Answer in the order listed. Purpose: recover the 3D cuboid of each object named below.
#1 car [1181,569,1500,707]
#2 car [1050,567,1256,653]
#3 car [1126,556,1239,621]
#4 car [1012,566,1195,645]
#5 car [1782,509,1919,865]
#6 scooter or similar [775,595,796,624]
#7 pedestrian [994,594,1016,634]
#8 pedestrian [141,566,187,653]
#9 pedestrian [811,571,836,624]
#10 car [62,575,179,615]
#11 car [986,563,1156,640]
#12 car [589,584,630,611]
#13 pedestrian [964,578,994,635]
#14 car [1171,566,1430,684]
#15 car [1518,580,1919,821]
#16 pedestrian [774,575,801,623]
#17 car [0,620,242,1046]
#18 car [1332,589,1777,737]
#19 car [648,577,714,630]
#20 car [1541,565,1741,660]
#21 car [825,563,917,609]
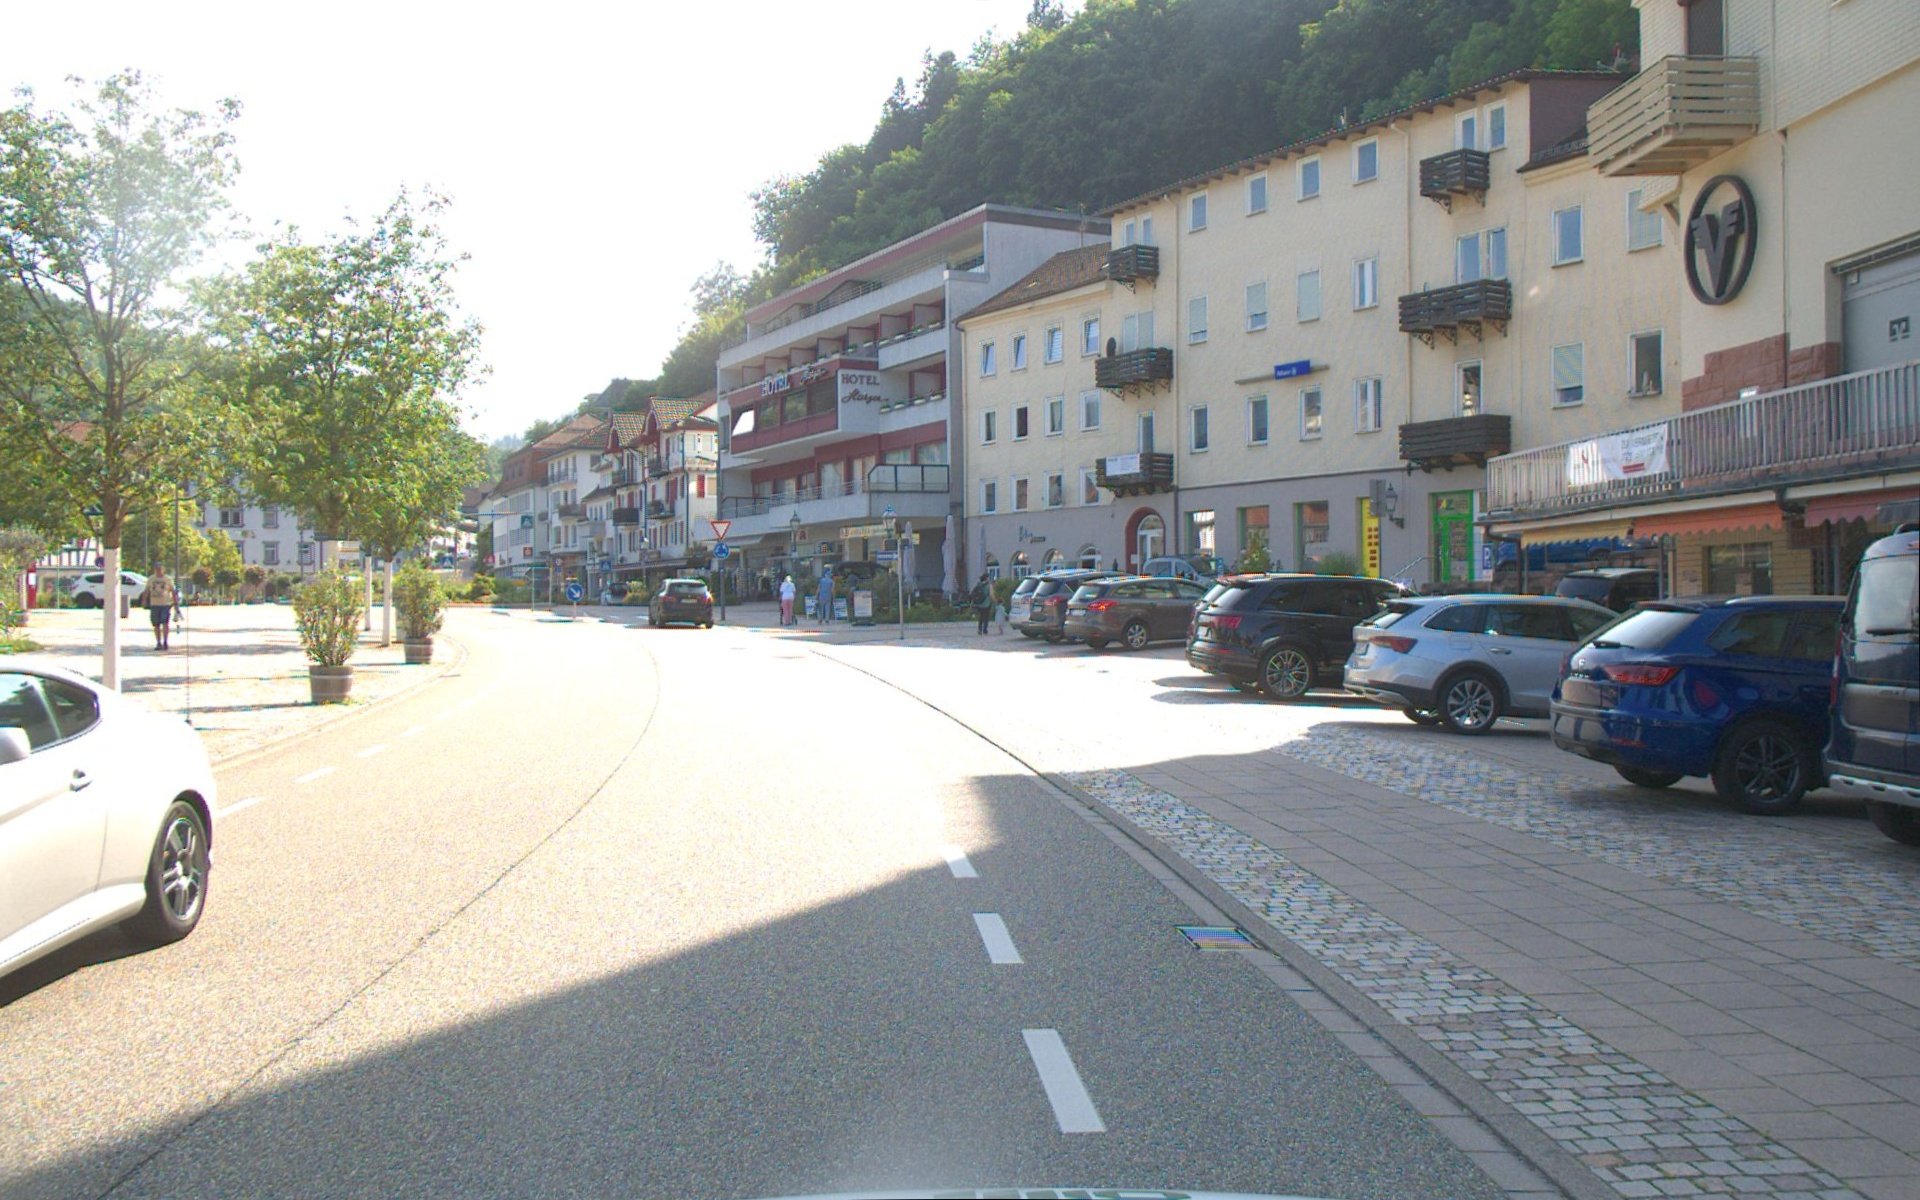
[{"bbox_3d":[5.257,0.515,23.217,4.002,1.695,1.772,2,0,-2],"label":"car"},{"bbox_3d":[4.086,0.172,34.991,3.955,1.542,1.761,-4,2,-23],"label":"car"},{"bbox_3d":[7.371,-0.422,54.996,1.840,2.048,3.637,0,2,-32],"label":"car"},{"bbox_3d":[3.326,0.094,38.361,3.809,1.576,1.761,-4,2,-23],"label":"car"},{"bbox_3d":[6.856,0.527,8.978,3.831,1.836,1.857,2,-1,-2],"label":"car"},{"bbox_3d":[-5.904,0.310,56.065,0.588,0.967,0.471,0,0,-25],"label":"scooter or similar"},{"bbox_3d":[1.182,0.358,43.546,0.408,1.019,0.531,-2,1,15],"label":"pedestrian"},{"bbox_3d":[-17.146,0.202,35.625,0.855,1.847,0.686,0,0,-24],"label":"pedestrian"},{"bbox_3d":[-4.585,-0.096,55.653,0.660,1.759,0.702,0,0,-24],"label":"pedestrian"},{"bbox_3d":[-35.438,-0.210,69.880,4.084,1.644,1.690,0,0,-1],"label":"car"},{"bbox_3d":[2.763,0.006,41.217,3.809,1.640,1.761,-4,2,-23],"label":"car"},{"bbox_3d":[-22.039,-0.166,103.917,1.656,1.649,3.966,0,0,-26],"label":"car"},{"bbox_3d":[0.501,0.156,43.642,0.720,1.467,0.633,-2,1,-2],"label":"pedestrian"},{"bbox_3d":[5.549,0.386,27.285,3.831,1.730,1.772,2,1,-2],"label":"car"},{"bbox_3d":[6.174,0.694,11.683,3.831,1.486,1.735,2,0,-2],"label":"car"},{"bbox_3d":[-5.819,-0.026,55.896,0.747,1.621,0.623,0,0,-25],"label":"pedestrian"},{"bbox_3d":[-4.071,0.835,5.783,1.596,1.394,4.059,-2,0,-5],"label":"car"},{"bbox_3d":[6.419,0.675,18.191,4.267,1.486,1.772,1,-1,0],"label":"car"},{"bbox_3d":[-9.200,0.083,54.416,1.700,1.602,3.736,0,2,-17],"label":"car"},{"bbox_3d":[12.906,0.182,31.279,3.878,1.637,1.751,-2,2,-36],"label":"car"},{"bbox_3d":[-3.310,-0.522,61.603,3.120,1.692,1.583,0,0,-23],"label":"car"}]
